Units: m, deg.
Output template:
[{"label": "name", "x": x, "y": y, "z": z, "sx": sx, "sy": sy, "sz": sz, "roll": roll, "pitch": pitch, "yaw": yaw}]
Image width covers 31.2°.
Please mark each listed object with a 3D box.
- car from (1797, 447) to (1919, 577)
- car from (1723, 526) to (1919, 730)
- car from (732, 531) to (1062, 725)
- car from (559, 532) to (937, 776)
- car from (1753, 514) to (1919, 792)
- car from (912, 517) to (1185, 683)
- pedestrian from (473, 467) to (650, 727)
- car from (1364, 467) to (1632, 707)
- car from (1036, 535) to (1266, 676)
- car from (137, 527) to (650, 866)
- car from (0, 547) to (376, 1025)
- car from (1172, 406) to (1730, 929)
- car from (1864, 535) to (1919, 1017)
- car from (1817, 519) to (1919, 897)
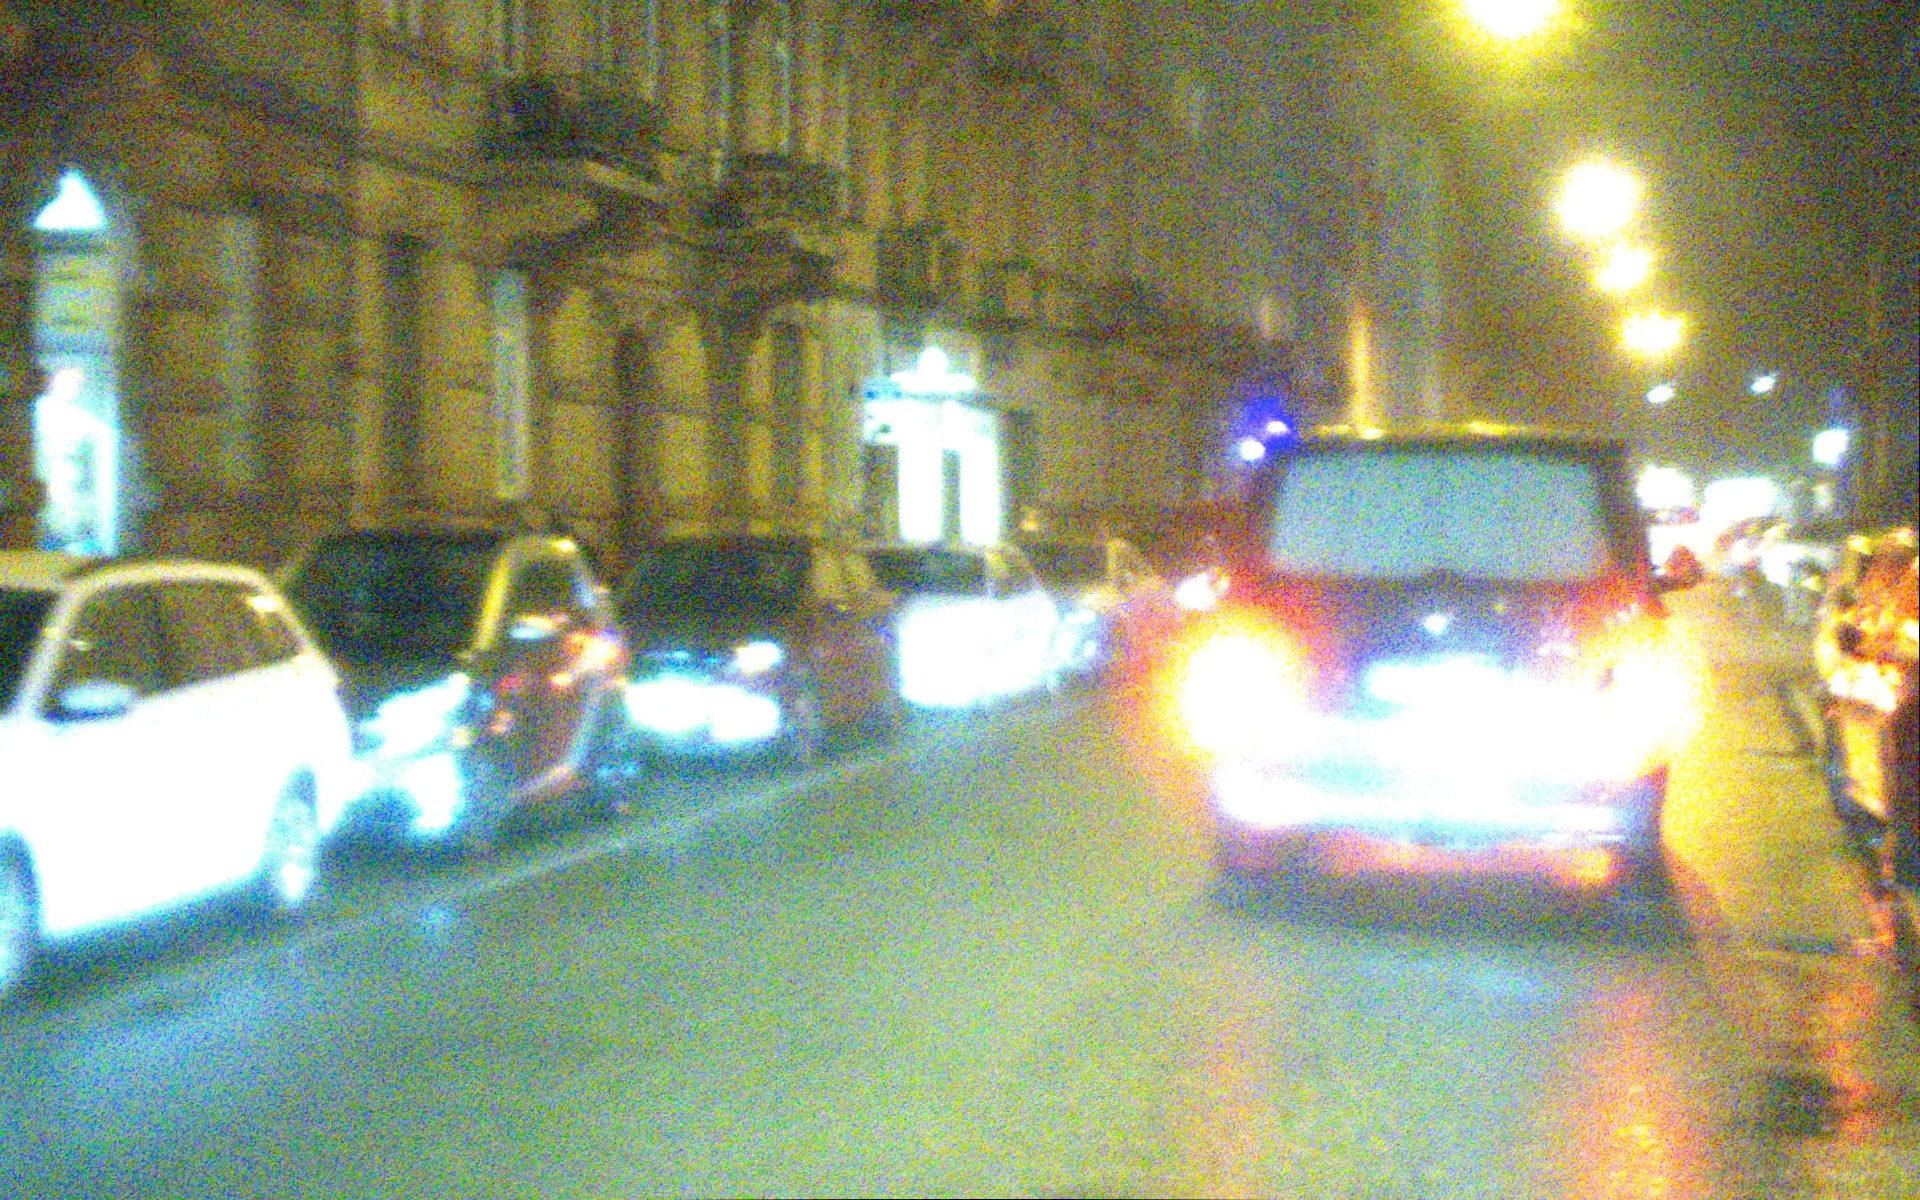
[{"label": "car", "x": 15.247, "y": -1.401, "z": 54.114, "sx": 3.989, "sy": 2.006, "sz": 1.999, "roll": 0, "pitch": 2, "yaw": 13}, {"label": "car", "x": 7.063, "y": 0.197, "z": 28.074, "sx": 1.592, "sy": 1.538, "sz": 3.418, "roll": 1, "pitch": 1, "yaw": 13}, {"label": "car", "x": -0.416, "y": 0.165, "z": 27.760, "sx": 1.691, "sy": 1.396, "sz": 4.314, "roll": 1, "pitch": 2, "yaw": 13}, {"label": "car", "x": -1.319, "y": 0.288, "z": 22.716, "sx": 1.587, "sy": 1.444, "sz": 3.501, "roll": 1, "pitch": 2, "yaw": 13}, {"label": "car", "x": 6.032, "y": 0.296, "z": 21.889, "sx": 1.754, "sy": 1.602, "sz": 3.988, "roll": 1, "pitch": 1, "yaw": 11}, {"label": "car", "x": 0.949, "y": -0.058, "z": 33.774, "sx": 1.755, "sy": 1.444, "sz": 4.620, "roll": 2, "pitch": 2, "yaw": 13}, {"label": "pedestrian", "x": -2.937, "y": -0.033, "z": 25.423, "sx": 1.032, "sy": 1.858, "sz": 0.977, "roll": 2, "pitch": 1, "yaw": 9}, {"label": "car", "x": 4.718, "y": -0.182, "z": 30.188, "sx": 2.123, "sy": 1.915, "sz": 4.824, "roll": 1, "pitch": 2, "yaw": 9}, {"label": "car", "x": 2.192, "y": 0.023, "z": 38.393, "sx": 1.994, "sy": 1.444, "sz": 3.998, "roll": 2, "pitch": 1, "yaw": 11}, {"label": "car", "x": -2.724, "y": 0.404, "z": 17.072, "sx": 1.587, "sy": 1.504, "sz": 2.786, "roll": 1, "pitch": 2, "yaw": 13}, {"label": "car", "x": -3.666, "y": 0.600, "z": 12.512, "sx": 1.587, "sy": 1.458, "sz": 4.022, "roll": 3, "pitch": 2, "yaw": 12}, {"label": "car", "x": 2.283, "y": 0.196, "z": 15.503, "sx": 2.123, "sy": 1.984, "sz": 4.599, "roll": 0, "pitch": 1, "yaw": 10}, {"label": "car", "x": 4.074, "y": 0.576, "z": 11.463, "sx": 1.754, "sy": 1.560, "sz": 4.152, "roll": 1, "pitch": 1, "yaw": 11}, {"label": "car", "x": 5.020, "y": 0.431, "z": 15.979, "sx": 1.754, "sy": 1.532, "sz": 4.396, "roll": 1, "pitch": 1, "yaw": 11}]
